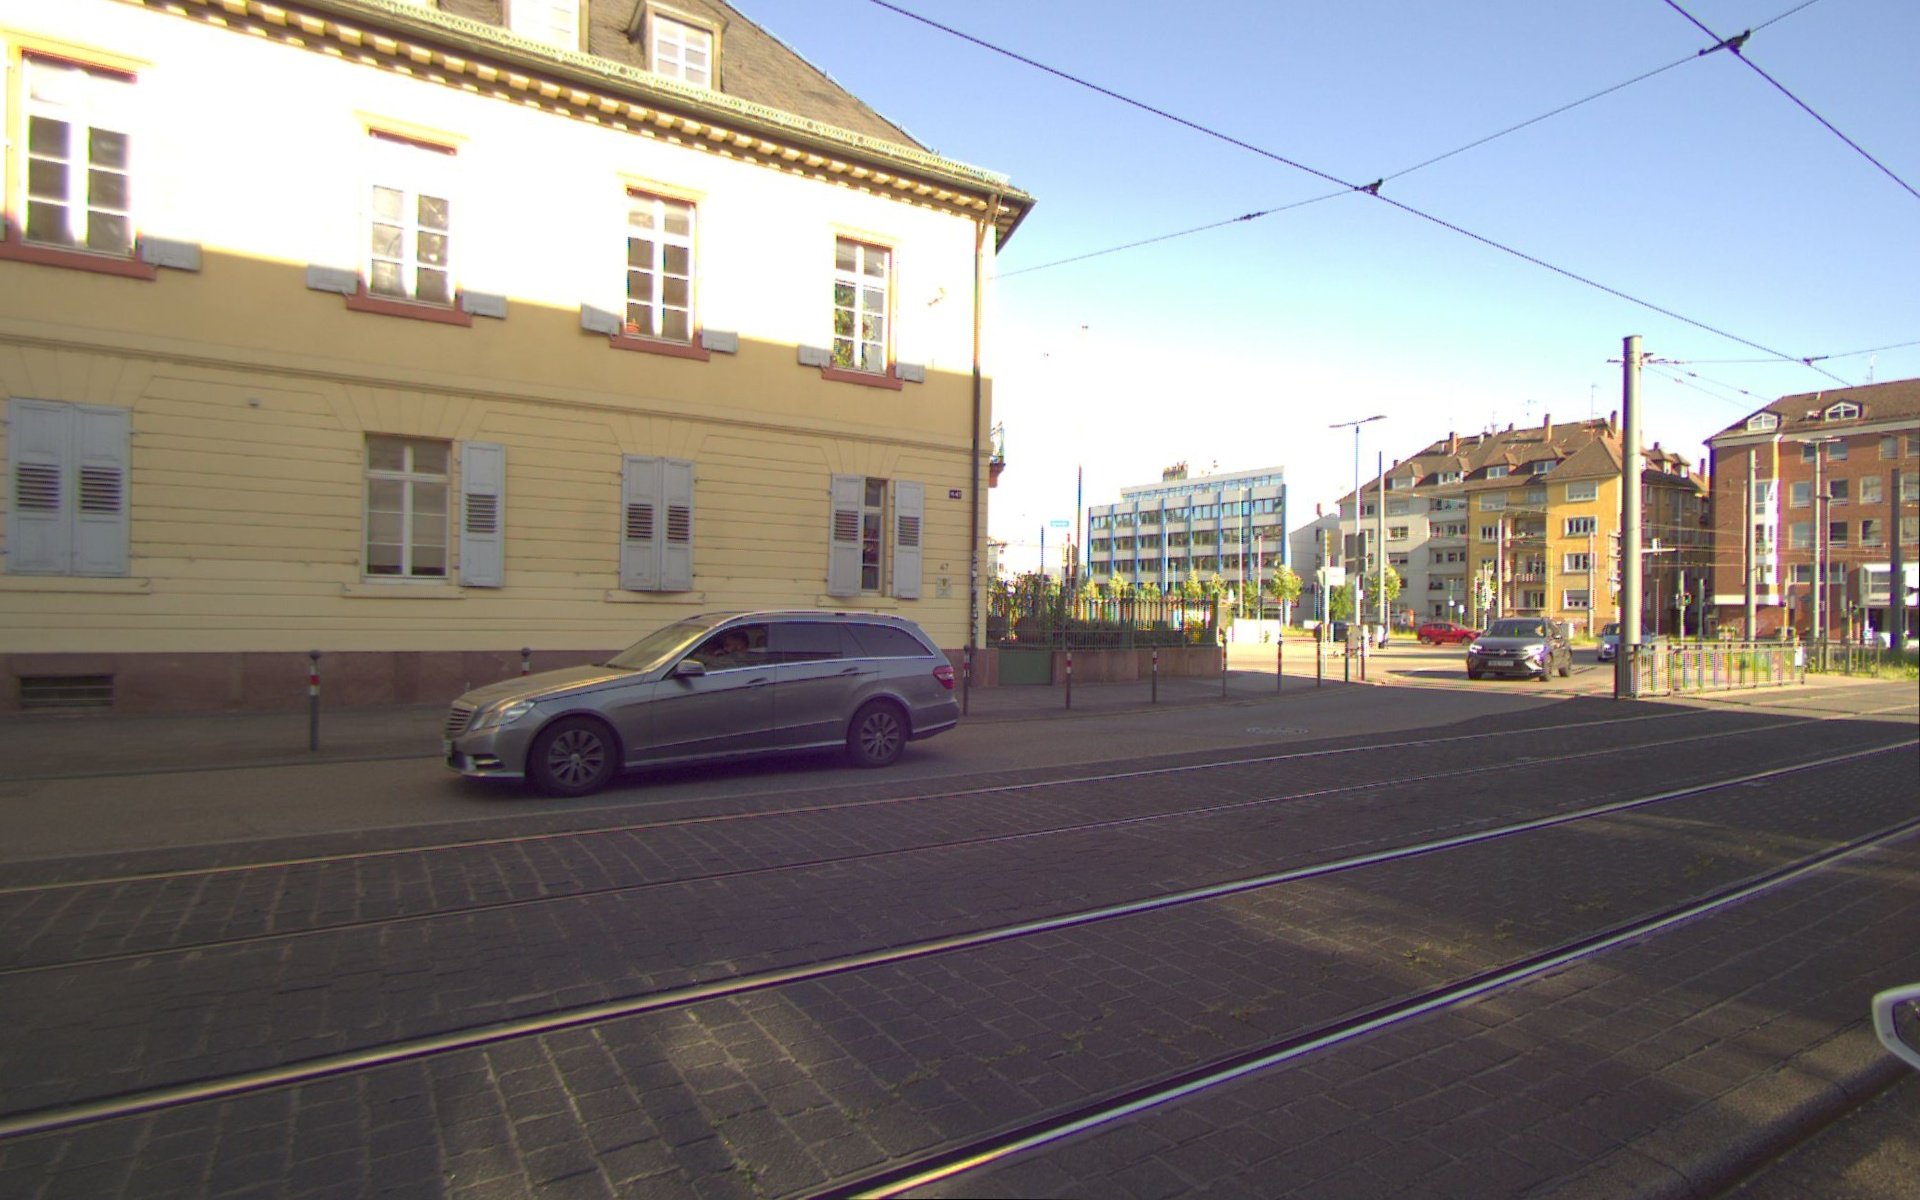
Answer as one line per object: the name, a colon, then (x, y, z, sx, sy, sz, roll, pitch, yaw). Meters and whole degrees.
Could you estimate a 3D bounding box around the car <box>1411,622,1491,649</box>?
car: (31.240, 2.208, 63.964, 1.922, 1.510, 4.112, 1, 0, -39)

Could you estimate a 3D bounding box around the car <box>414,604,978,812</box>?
car: (-2.312, 0.875, 9.577, 4.884, 1.515, 1.867, 2, -3, -37)

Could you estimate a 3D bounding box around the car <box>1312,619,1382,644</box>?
car: (26.950, 2.192, 70.039, 1.922, 1.510, 4.112, 1, 1, -39)

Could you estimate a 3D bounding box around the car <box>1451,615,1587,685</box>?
car: (13.710, 1.168, 24.529, 4.251, 1.532, 1.747, 2, -1, -44)

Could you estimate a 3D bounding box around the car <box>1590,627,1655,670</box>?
car: (26.400, 1.880, 39.960, 1.760, 1.589, 4.274, -1, -1, 39)
